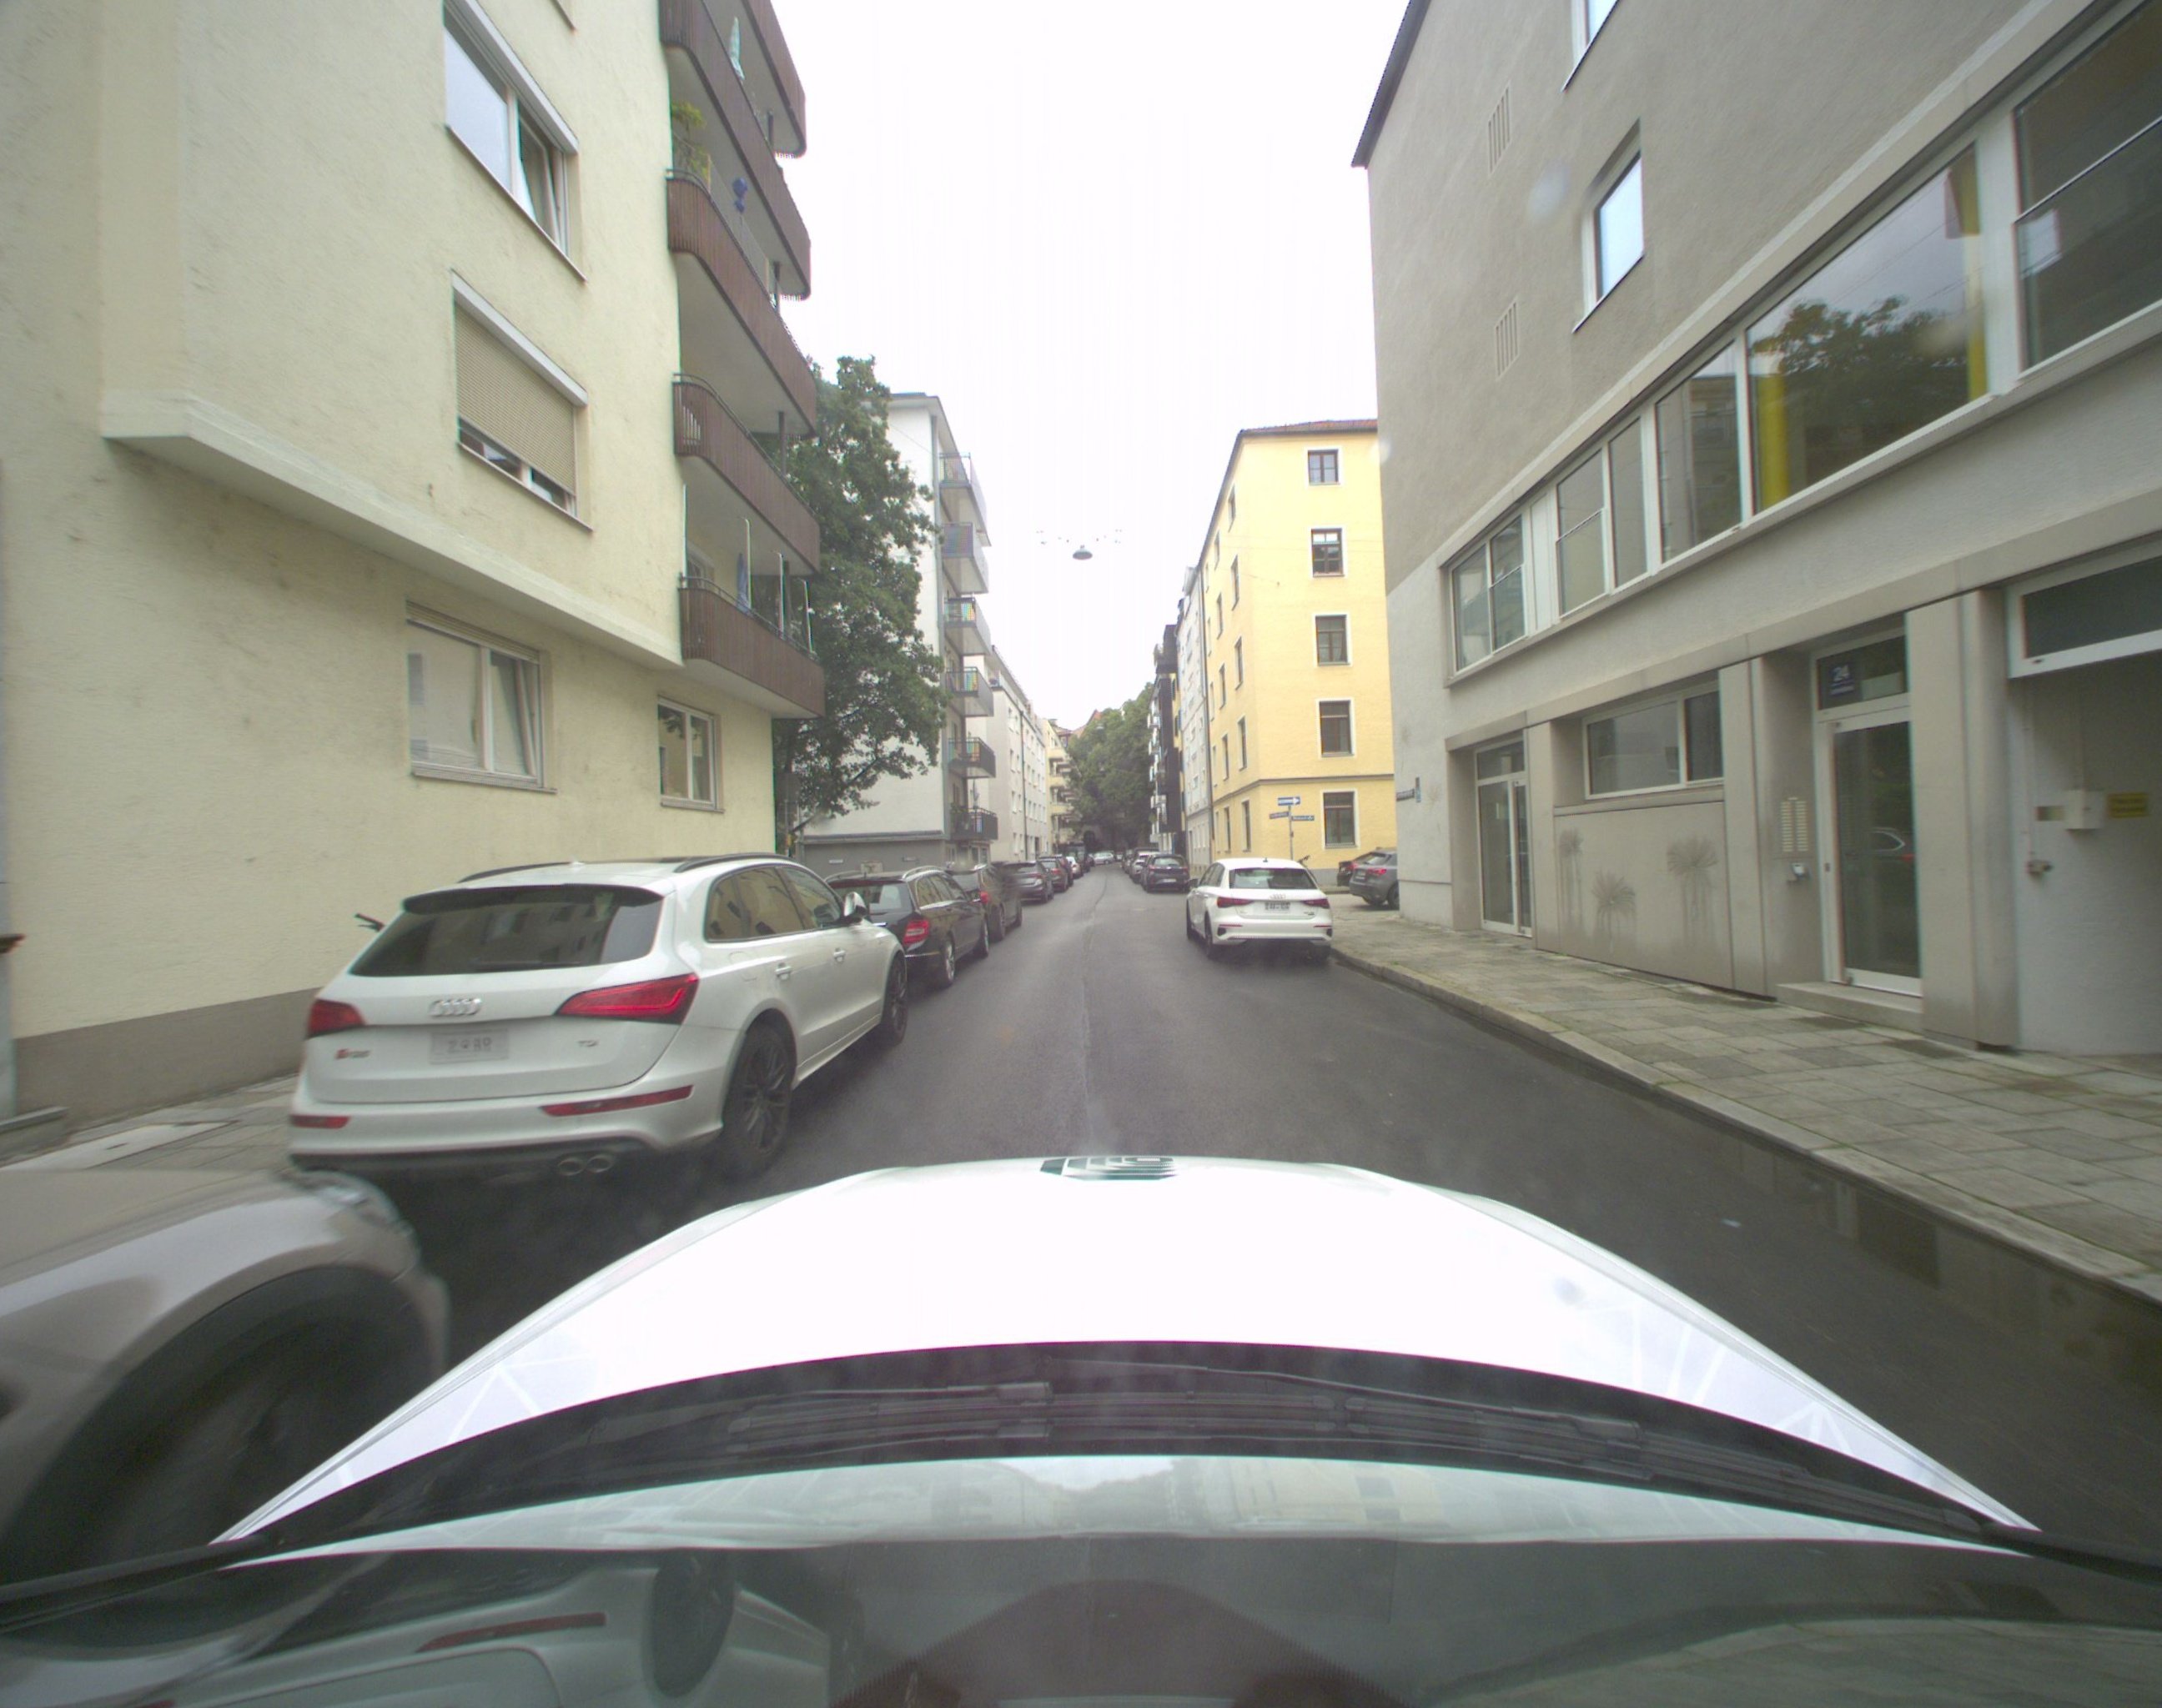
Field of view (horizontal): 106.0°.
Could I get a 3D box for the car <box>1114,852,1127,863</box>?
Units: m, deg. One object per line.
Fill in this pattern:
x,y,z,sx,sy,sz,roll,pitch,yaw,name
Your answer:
5.813,0.509,119.980,1.636,1.383,3.747,-5,0,1,car

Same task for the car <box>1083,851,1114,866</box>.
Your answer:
2.270,0.599,105.035,3.873,1.584,1.648,-5,0,0,car

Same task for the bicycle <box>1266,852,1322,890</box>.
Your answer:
7.101,0.572,27.137,1.707,1.139,0.374,-3,1,0,bicycle

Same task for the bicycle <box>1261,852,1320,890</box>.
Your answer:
7.095,0.569,27.614,1.802,1.174,0.505,-4,1,-1,bicycle

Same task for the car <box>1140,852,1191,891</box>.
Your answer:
3.383,0.673,33.168,1.744,1.469,4.344,0,0,1,car

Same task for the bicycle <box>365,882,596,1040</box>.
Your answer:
-5.292,0.876,7.349,0.642,1.161,1.790,-4,-1,2,bicycle

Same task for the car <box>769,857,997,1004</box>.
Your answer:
-2.397,0.844,11.114,1.758,1.483,4.427,-3,0,3,car

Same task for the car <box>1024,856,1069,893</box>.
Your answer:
-1.457,0.865,35.836,1.687,1.442,3.977,-3,0,0,car

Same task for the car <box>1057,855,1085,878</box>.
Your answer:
-0.697,0.884,59.905,1.770,1.452,4.047,-5,0,1,car

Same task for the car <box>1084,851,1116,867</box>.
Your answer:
2.355,0.640,103.061,3.873,1.584,1.648,-5,0,0,car

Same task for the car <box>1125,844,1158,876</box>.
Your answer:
3.702,0.345,50.604,1.822,1.910,4.417,0,0,2,car

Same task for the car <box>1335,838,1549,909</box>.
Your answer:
8.457,0.410,19.332,4.193,1.399,1.999,-2,2,-2,car

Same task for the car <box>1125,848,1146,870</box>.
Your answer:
5.159,0.427,77.326,1.822,1.999,4.417,1,0,1,car

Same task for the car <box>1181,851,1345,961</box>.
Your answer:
2.693,0.693,12.945,1.812,1.408,3.954,-1,1,2,car

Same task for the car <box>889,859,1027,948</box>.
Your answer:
-2.296,0.884,16.388,1.849,1.408,4.385,-3,0,2,car

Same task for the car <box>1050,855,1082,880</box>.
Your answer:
-0.951,0.856,54.697,1.770,1.487,4.522,-5,0,2,car

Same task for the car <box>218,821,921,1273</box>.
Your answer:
-2.439,0.773,5.377,1.760,1.675,4.368,-3,-1,1,car

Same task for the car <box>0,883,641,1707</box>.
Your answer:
-2.283,0.835,0.642,1.646,1.435,3.804,-3,-1,2,car

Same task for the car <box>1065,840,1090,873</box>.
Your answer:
-0.276,0.246,74.578,1.930,2.801,4.534,-5,0,1,car

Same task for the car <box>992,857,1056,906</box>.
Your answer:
-1.878,0.883,28.078,1.686,1.442,3.944,-3,0,2,car

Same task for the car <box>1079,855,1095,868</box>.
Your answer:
0.691,0.844,93.060,1.636,1.383,3.483,-5,0,1,car

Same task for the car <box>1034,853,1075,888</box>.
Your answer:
-1.294,0.794,41.663,1.770,1.629,4.416,-3,0,1,car

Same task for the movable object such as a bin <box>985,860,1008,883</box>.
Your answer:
-5.270,1.096,51.042,1.161,1.337,1.026,-4,0,4,movable object such as a bin

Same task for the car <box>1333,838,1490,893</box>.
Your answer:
10.275,0.355,25.535,4.199,1.494,1.711,-2,-1,-1,car

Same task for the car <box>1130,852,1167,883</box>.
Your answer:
3.505,0.663,42.977,1.676,1.567,4.416,0,0,1,car

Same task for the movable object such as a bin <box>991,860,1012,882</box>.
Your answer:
-5.084,1.082,52.116,1.043,1.337,0.994,-4,0,4,movable object such as a bin
